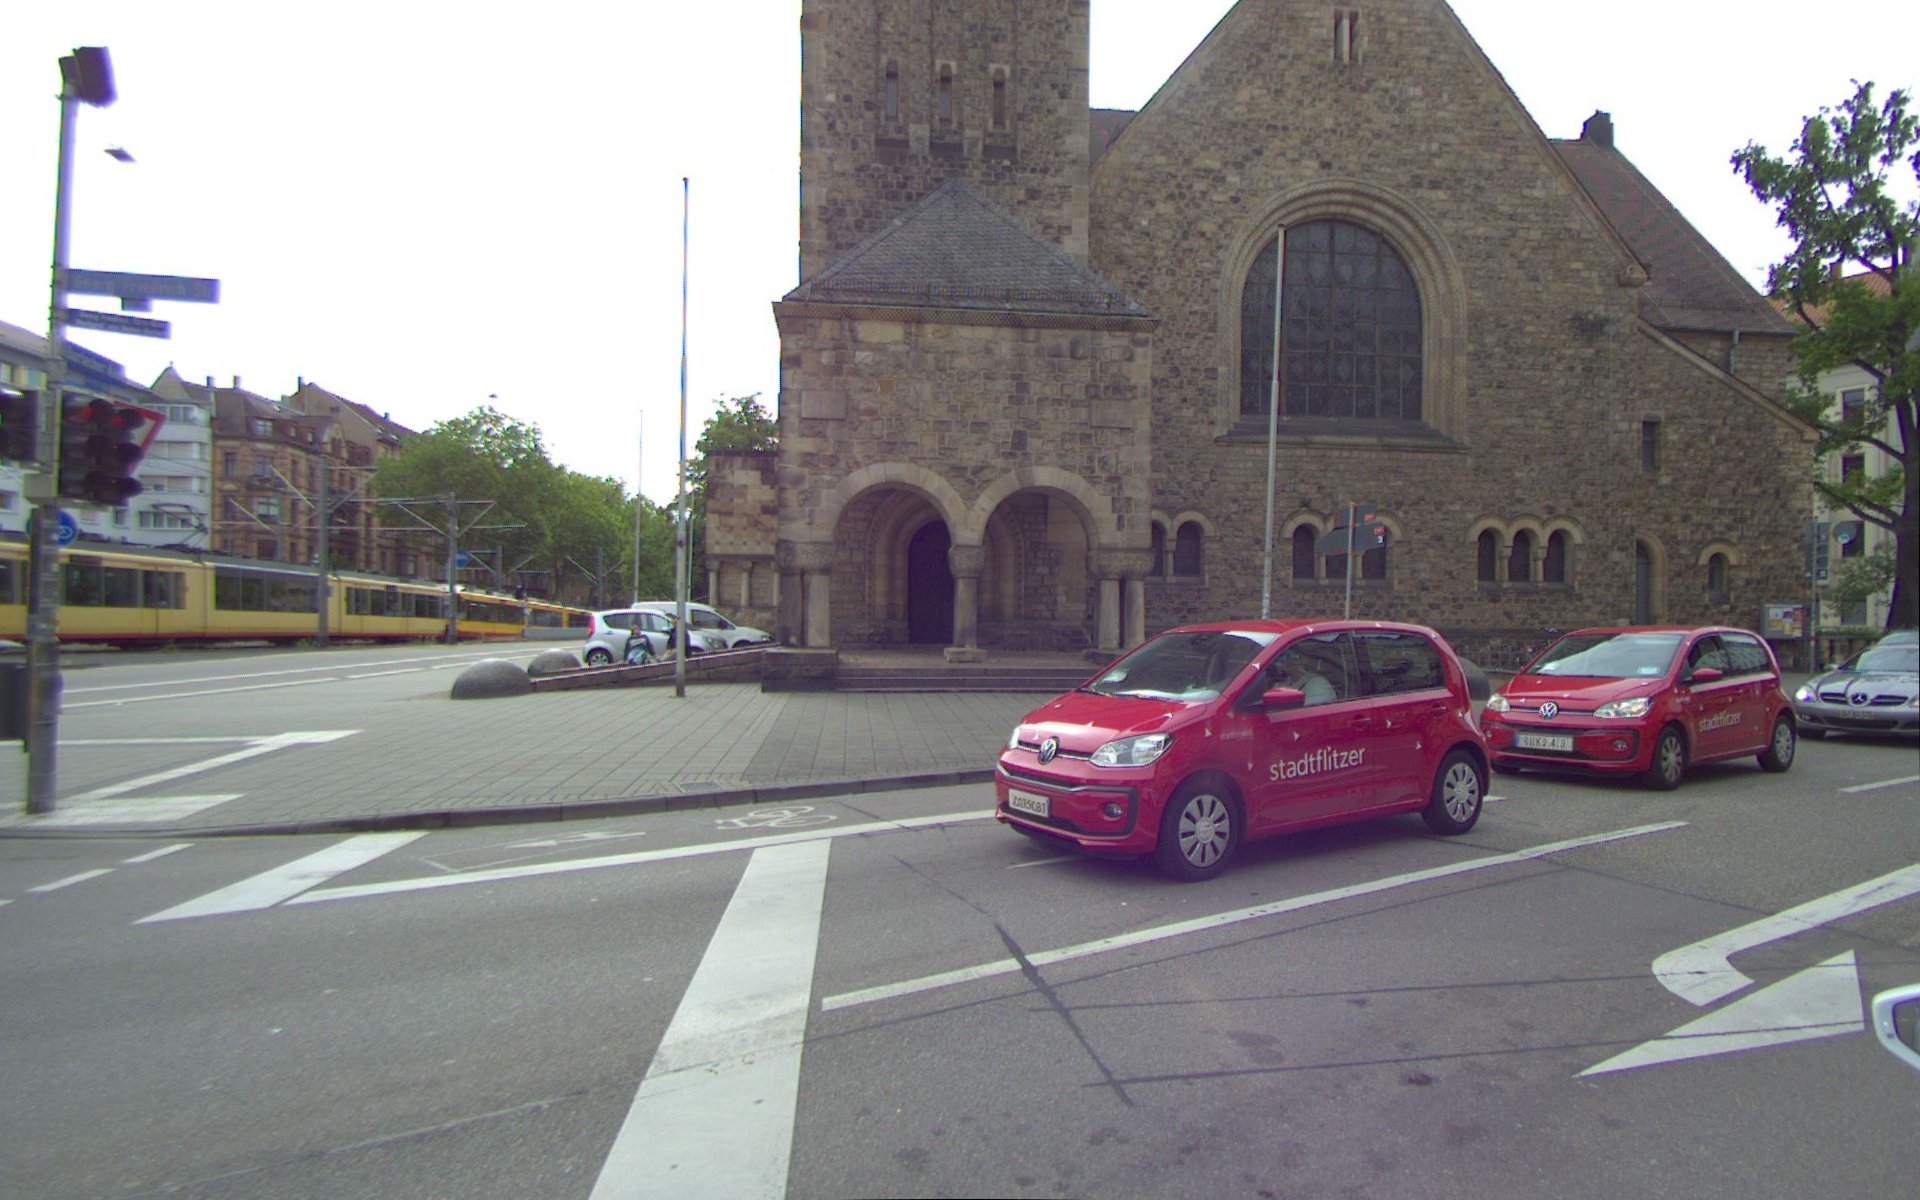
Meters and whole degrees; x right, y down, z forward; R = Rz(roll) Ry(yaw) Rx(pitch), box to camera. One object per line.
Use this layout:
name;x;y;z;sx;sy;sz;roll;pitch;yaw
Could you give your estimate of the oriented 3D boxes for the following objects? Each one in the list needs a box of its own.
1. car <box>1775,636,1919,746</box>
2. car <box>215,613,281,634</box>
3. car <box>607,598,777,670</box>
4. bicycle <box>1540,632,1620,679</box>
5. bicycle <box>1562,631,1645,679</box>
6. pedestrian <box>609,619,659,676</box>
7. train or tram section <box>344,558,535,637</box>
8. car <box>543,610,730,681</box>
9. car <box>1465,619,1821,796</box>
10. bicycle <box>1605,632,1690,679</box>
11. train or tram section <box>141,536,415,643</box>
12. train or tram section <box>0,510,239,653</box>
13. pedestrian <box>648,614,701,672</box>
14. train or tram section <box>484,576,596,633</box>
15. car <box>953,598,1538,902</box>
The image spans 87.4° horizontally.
car;12.907;1.170;13.513;3.994;1.303;1.697;2;-3;-30
car;-45.165;1.465;63.818;1.676;1.237;3.888;2;-1;-5
car;-7.767;1.002;29.437;4.539;1.906;1.661;2;-1;-6
bicycle;16.127;1.435;26.171;0.651;1.145;1.777;1;-1;-18
bicycle;16.884;1.420;26.415;0.730;1.182;1.777;1;-1;-18
pedestrian;-7.317;1.050;22.607;0.725;1.207;1.492;2;-1;-5
train or tram section;-32.571;0.076;64.715;3.559;4.147;19.934;2;-1;-5
car;-8.254;1.160;25.920;4.281;1.658;1.661;2;-1;-6
car;6.898;0.987;10.077;3.677;1.476;1.594;2;-3;-32
bicycle;17.916;1.428;26.221;0.730;1.167;1.777;1;-1;-18
train or tram section;-31.054;-0.253;47.269;3.513;4.147;15.030;2;-1;-4
train or tram section;-29.951;-0.533;32.276;3.585;4.147;15.030;2;-1;-4
pedestrian;-6.399;0.961;22.536;0.724;1.245;1.063;2;-1;9
train or tram section;-34.110;0.520;82.664;3.458;4.147;16.196;2;-1;-4
car;2.022;0.814;6.850;3.848;1.548;1.641;0;-3;-31
